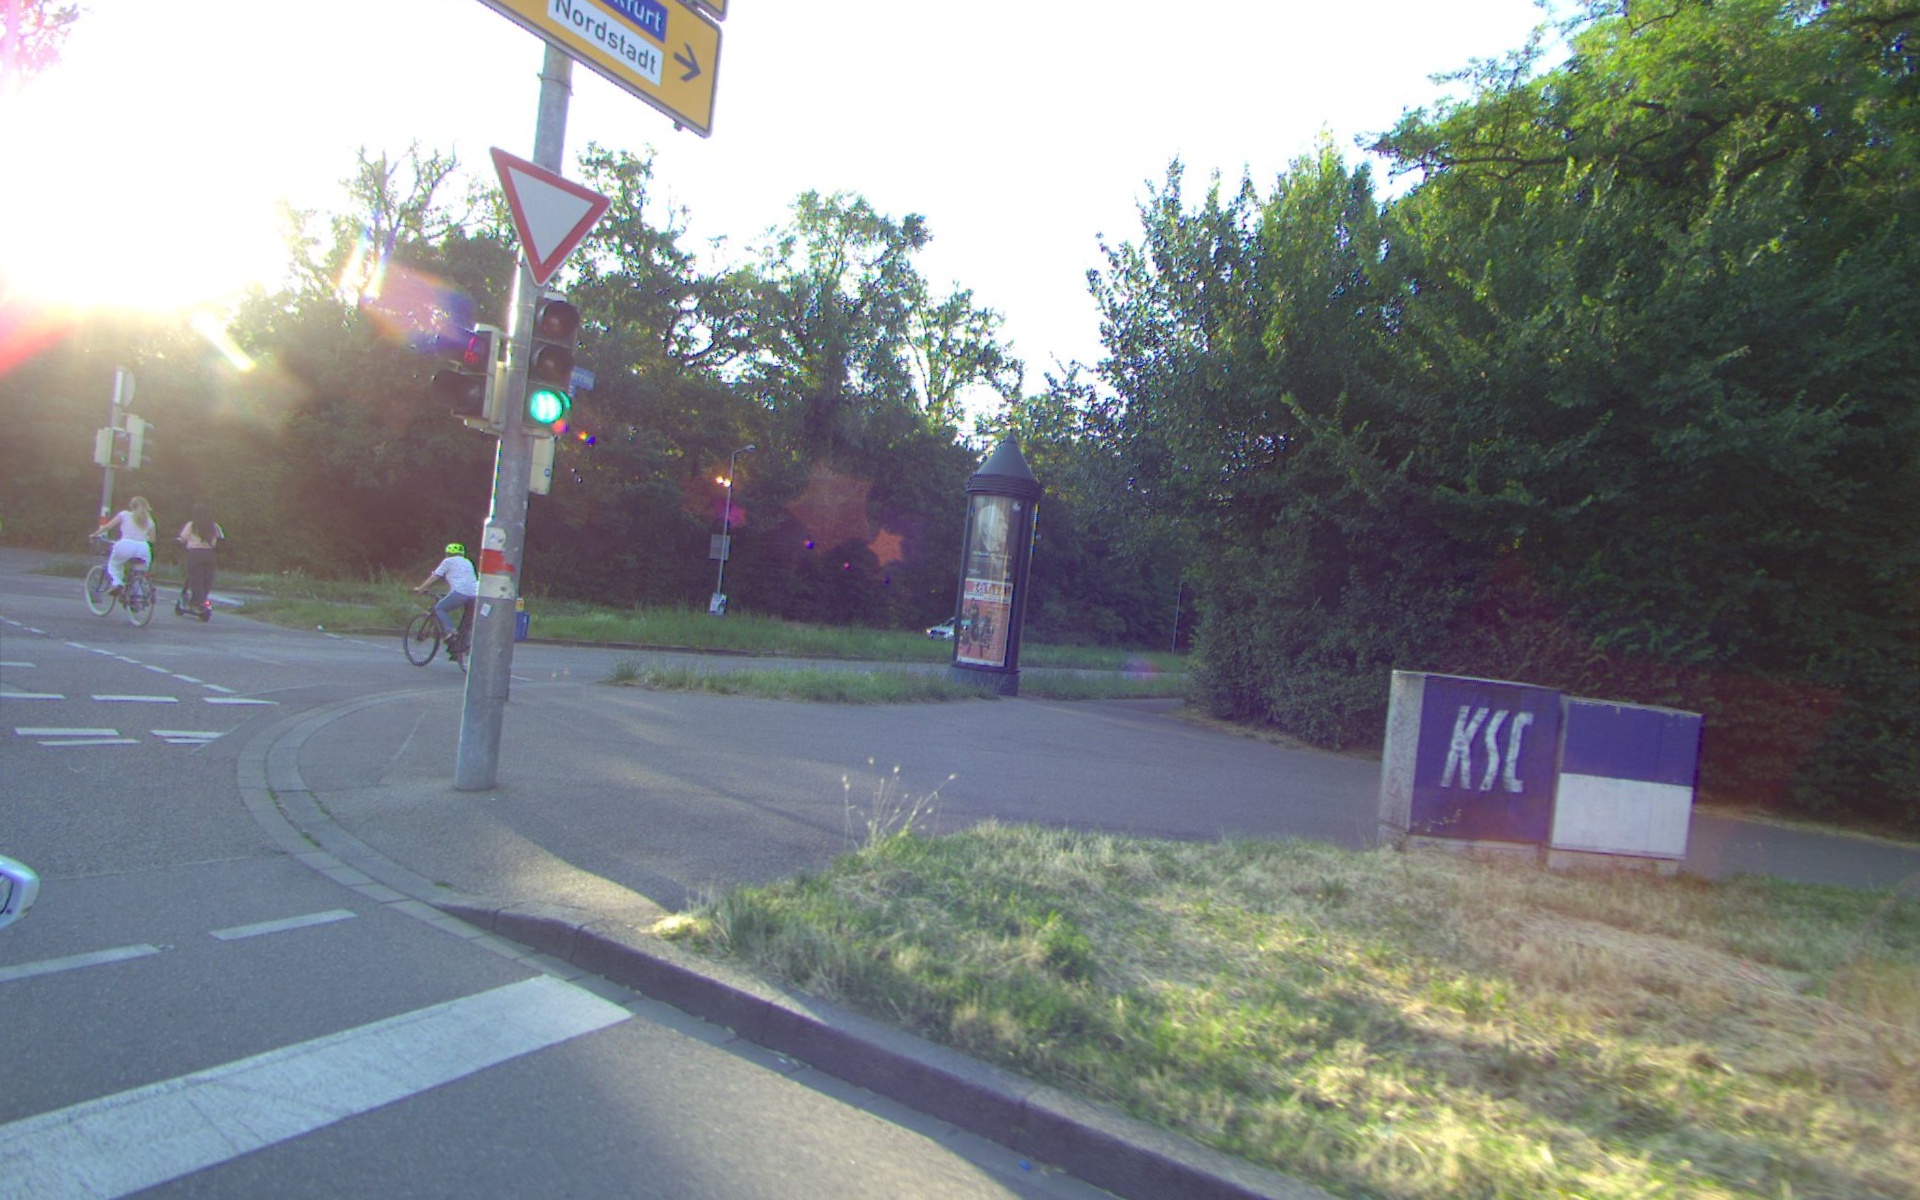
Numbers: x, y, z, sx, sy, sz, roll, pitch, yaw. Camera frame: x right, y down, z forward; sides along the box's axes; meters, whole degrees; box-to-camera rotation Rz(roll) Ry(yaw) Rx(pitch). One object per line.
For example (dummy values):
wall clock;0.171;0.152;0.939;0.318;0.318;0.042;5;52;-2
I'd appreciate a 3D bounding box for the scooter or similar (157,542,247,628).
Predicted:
scooter or similar;-11.893;-0.244;15.772;1.398;1.203;0.562;6;-1;32

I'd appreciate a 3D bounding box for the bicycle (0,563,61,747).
bicycle;-6.607;0.264;6.432;1.795;1.075;0.700;6;-1;31

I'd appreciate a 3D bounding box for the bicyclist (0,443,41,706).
bicyclist;-6.632;-0.214;6.486;0.785;1.686;0.700;6;-1;31

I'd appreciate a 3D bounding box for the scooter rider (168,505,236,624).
scooter rider;-11.896;-0.549;15.794;0.496;1.788;0.566;6;0;31

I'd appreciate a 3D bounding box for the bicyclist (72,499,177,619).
bicyclist;-11.708;-0.575;14.099;0.842;1.536;0.761;7;-1;31

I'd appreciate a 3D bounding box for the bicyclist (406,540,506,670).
bicyclist;-6.624;0.066;13.236;0.882;1.589;0.556;6;0;16

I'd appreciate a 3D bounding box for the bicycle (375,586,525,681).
bicycle;-6.719;0.438;13.255;1.768;1.027;0.565;6;0;16

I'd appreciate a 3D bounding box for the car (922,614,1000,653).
car;0.121;1.796;53.024;1.799;1.632;4.631;4;-3;33

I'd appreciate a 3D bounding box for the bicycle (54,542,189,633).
bicycle;-11.769;-0.188;14.107;1.982;1.019;0.772;7;-1;31
